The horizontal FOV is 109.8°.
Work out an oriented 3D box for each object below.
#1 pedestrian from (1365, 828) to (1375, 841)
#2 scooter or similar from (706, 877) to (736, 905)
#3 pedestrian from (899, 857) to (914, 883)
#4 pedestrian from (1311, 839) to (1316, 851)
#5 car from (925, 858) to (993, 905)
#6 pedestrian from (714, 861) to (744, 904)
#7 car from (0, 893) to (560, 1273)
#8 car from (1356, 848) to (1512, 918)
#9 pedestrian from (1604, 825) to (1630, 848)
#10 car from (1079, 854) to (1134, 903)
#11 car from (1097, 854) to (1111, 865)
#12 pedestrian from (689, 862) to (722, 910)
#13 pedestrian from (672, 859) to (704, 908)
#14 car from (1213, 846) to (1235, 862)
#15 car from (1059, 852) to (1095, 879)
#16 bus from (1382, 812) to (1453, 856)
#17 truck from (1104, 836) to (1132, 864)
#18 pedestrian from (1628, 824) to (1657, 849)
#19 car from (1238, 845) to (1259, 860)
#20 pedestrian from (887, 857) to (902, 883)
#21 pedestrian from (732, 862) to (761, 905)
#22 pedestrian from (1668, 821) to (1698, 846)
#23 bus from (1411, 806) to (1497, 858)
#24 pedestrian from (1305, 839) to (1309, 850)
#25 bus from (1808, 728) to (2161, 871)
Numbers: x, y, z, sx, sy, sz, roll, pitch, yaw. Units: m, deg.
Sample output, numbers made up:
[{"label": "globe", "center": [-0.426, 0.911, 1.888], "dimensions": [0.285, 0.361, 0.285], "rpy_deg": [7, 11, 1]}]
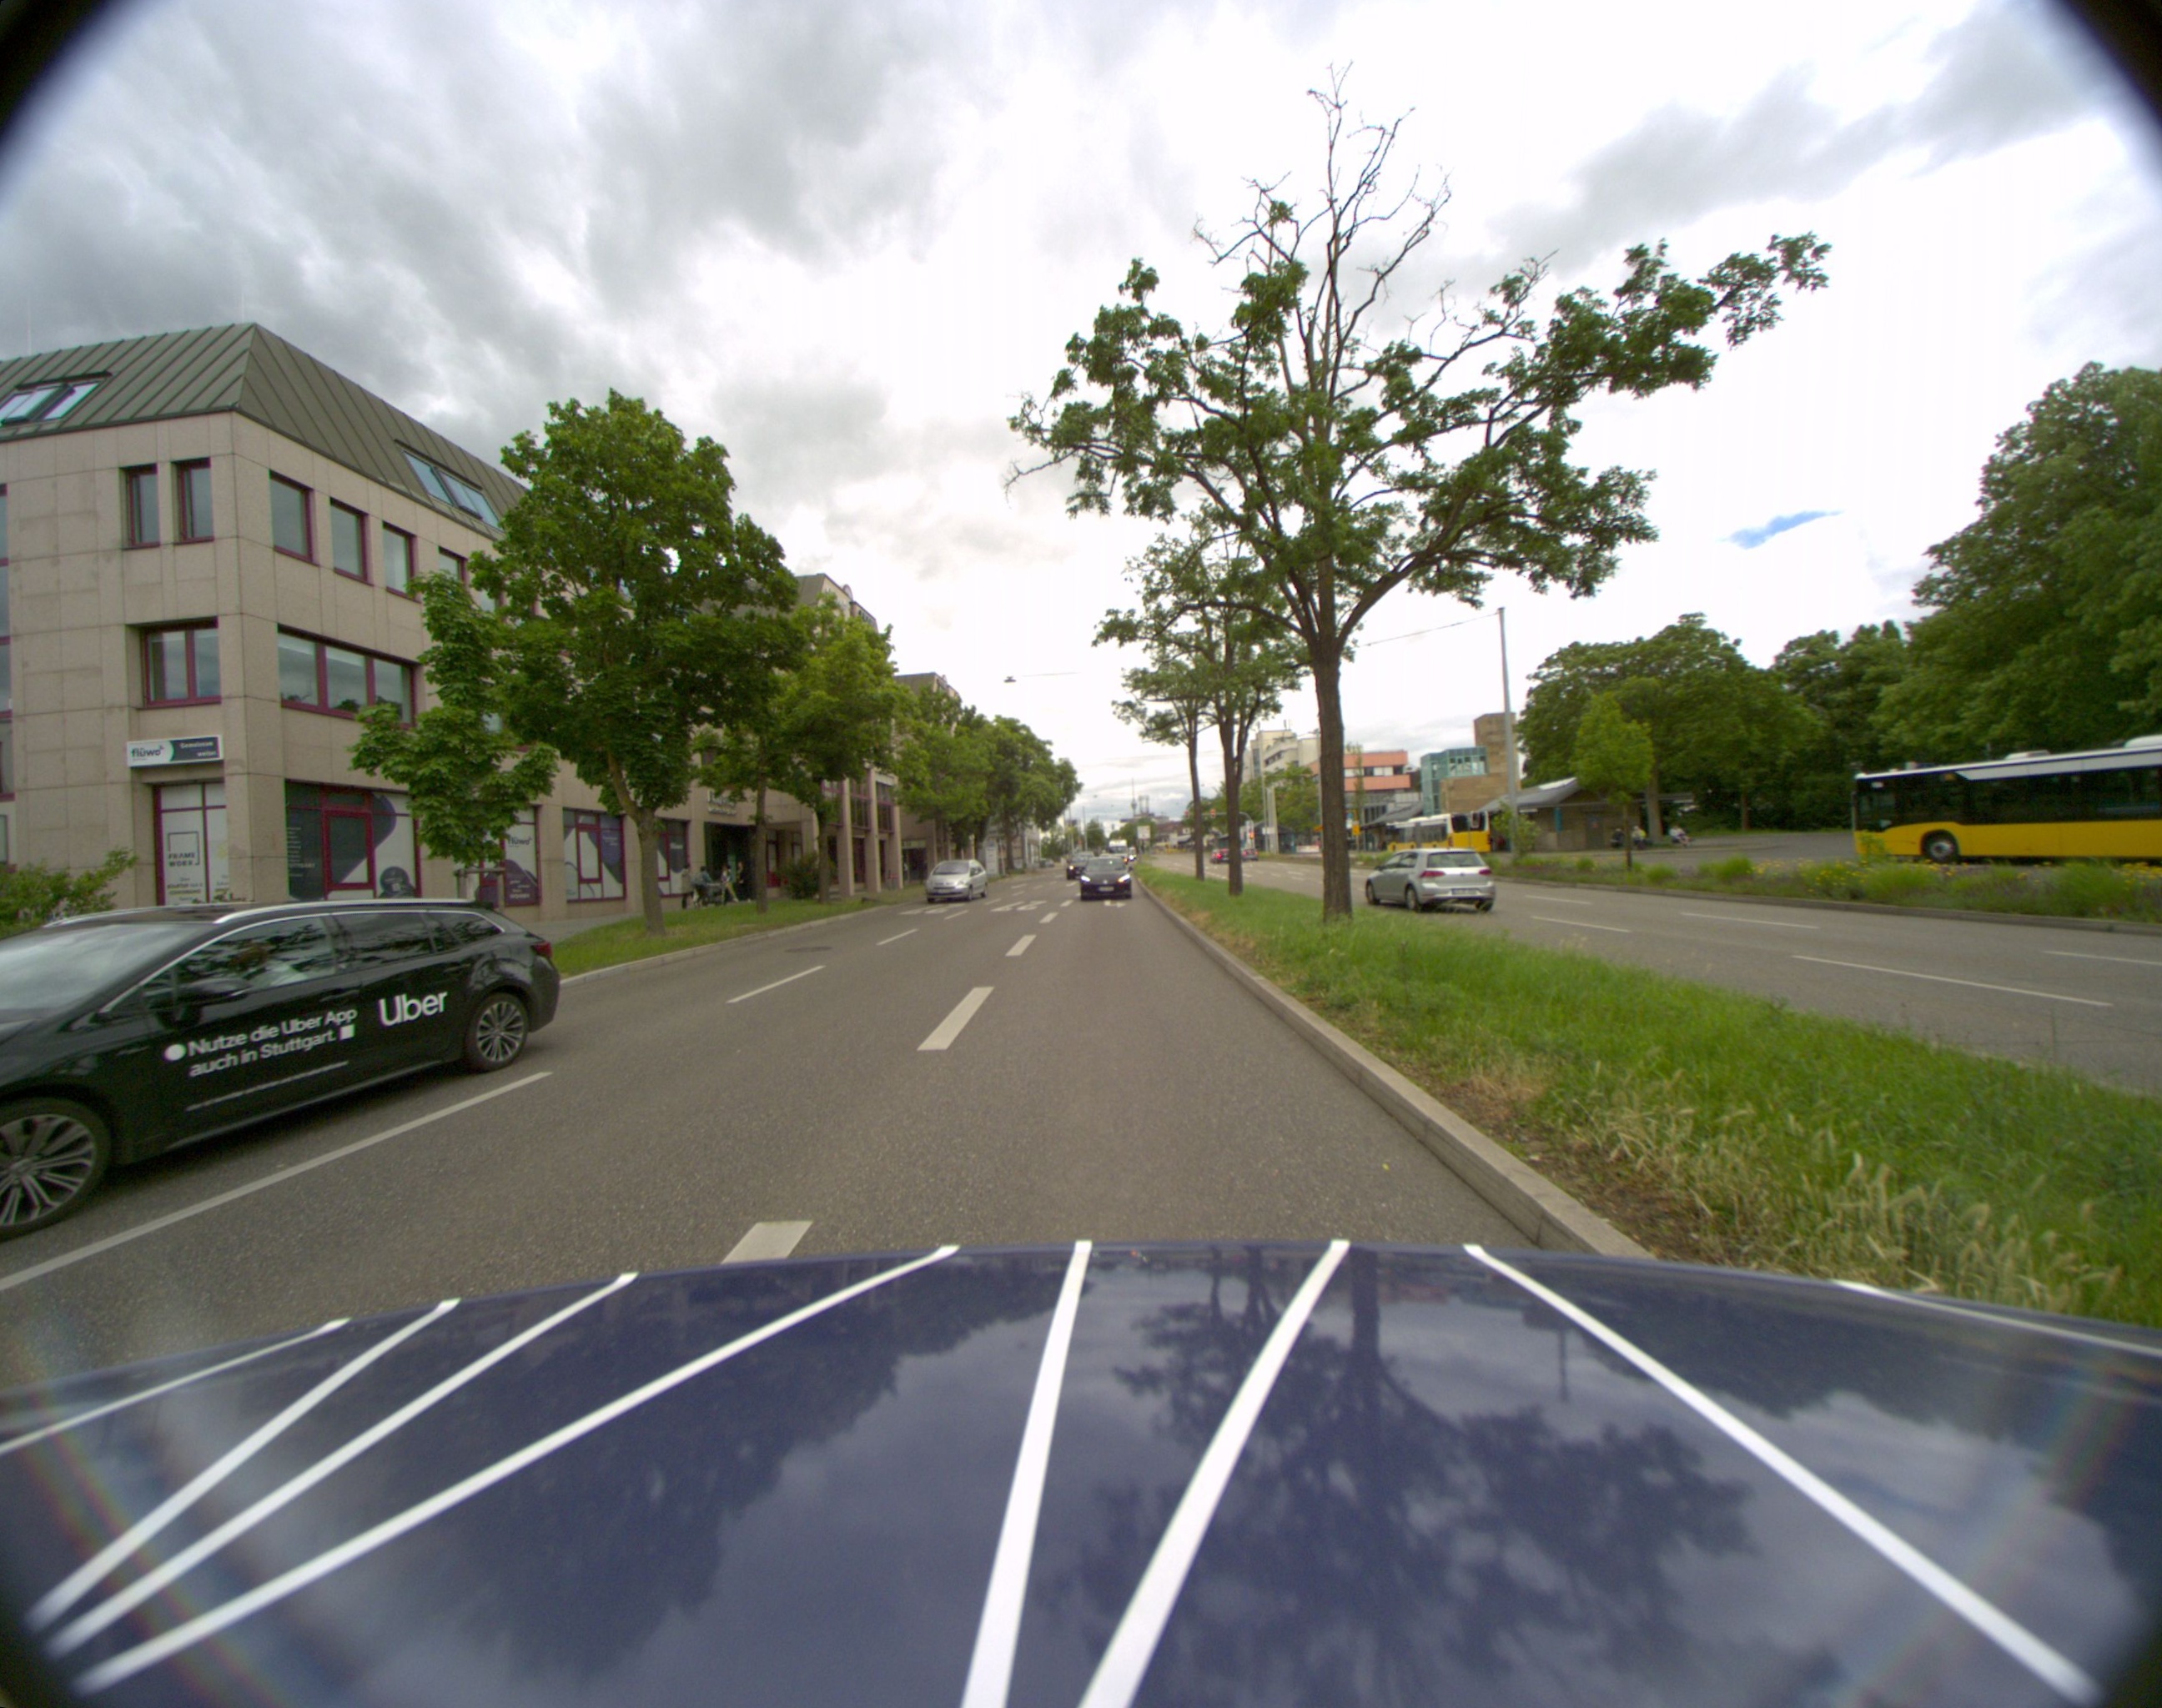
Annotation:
[{"label": "pedestrian", "center": [34.408, -2.283, 90.397], "dimensions": [0.990, 1.452, 0.592], "rpy_deg": [-3, 1, 18]}, {"label": "scooter or similar", "center": [-13.089, 1.340, 27.664], "dimensions": [0.585, 0.988, 0.847], "rpy_deg": [-1, 1, 7]}, {"label": "pedestrian", "center": [-11.326, 1.025, 49.324], "dimensions": [0.659, 1.681, 0.843], "rpy_deg": [-1, 1, 6]}, {"label": "pedestrian", "center": [32.564, -1.262, 106.535], "dimensions": [0.485, 1.539, 0.383], "rpy_deg": [-3, 1, -6]}, {"label": "car", "center": [-4.764, 1.032, 30.170], "dimensions": [1.763, 1.625, 4.156], "rpy_deg": [-2, 0, 3]}, {"label": "pedestrian", "center": [-14.429, 1.161, 31.172], "dimensions": [0.596, 1.695, 0.970], "rpy_deg": [-3, 1, 6]}, {"label": "car", "center": [-5.598, 1.131, 4.576], "dimensions": [1.768, 1.440, 4.420], "rpy_deg": [-3, 1, 0]}, {"label": "car", "center": [8.208, 0.622, 18.107], "dimensions": [1.757, 1.436, 4.134], "rpy_deg": [-1, 0, 0]}, {"label": "pedestrian", "center": [30.562, -0.969, 43.332], "dimensions": [0.859, 1.247, 0.894], "rpy_deg": [-3, 1, -26]}, {"label": "car", "center": [0.961, 0.821, 27.417], "dimensions": [1.763, 1.531, 4.048], "rpy_deg": [-2, 0, 3]}, {"label": "car", "center": [3.423, 0.777, 113.864], "dimensions": [1.895, 1.531, 4.048], "rpy_deg": [-2, 0, 3]}, {"label": "pedestrian", "center": [-13.206, 1.110, 26.751], "dimensions": [0.556, 1.643, 0.962], "rpy_deg": [-1, 1, 7]}, {"label": "pedestrian", "center": [-13.961, 1.041, 27.001], "dimensions": [0.568, 1.690, 0.829], "rpy_deg": [-3, 1, 6]}, {"label": "car", "center": [14.764, 0.012, 78.783], "dimensions": [1.662, 1.499, 3.769], "rpy_deg": [-3, 1, 2]}, {"label": "car", "center": [-0.214, 0.736, 51.172], "dimensions": [2.150, 1.630, 5.095], "rpy_deg": [-4, 0, 1]}, {"label": "bus", "center": [27.642, -1.571, 62.891], "dimensions": [2.781, 3.113, 9.444], "rpy_deg": [-5, 0, 9]}, {"label": "truck", "center": [4.601, -0.564, 95.728], "dimensions": [3.118, 3.209, 6.523], "rpy_deg": [-5, 2, 1]}, {"label": "pedestrian", "center": [30.345, -0.952, 41.052], "dimensions": [0.859, 1.283, 0.894], "rpy_deg": [-3, 1, -22]}, {"label": "car", "center": [18.600, -0.202, 84.730], "dimensions": [1.819, 1.499, 4.001], "rpy_deg": [-3, 1, 6]}, {"label": "pedestrian", "center": [-12.104, 1.033, 49.321], "dimensions": [0.659, 1.681, 0.843], "rpy_deg": [-1, 1, 6]}, {"label": "pedestrian", "center": [-13.728, 1.188, 31.170], "dimensions": [0.596, 1.695, 0.970], "rpy_deg": [-3, 1, 6]}, {"label": "pedestrian", "center": [31.949, -1.072, 40.325], "dimensions": [0.895, 1.247, 0.858], "rpy_deg": [-3, 1, 3]}, {"label": "bus", "center": [26.082, -1.445, 53.685], "dimensions": [2.814, 3.113, 9.306], "rpy_deg": [-5, 0, 10]}, {"label": "pedestrian", "center": [31.669, -1.337, 106.508], "dimensions": [0.529, 1.539, 0.754], "rpy_deg": [-3, 1, 18]}, {"label": "bus", "center": [26.136, -1.433, 20.508], "dimensions": [3.090, 3.144, 10.739], "rpy_deg": [-8, 0, 5]}]
